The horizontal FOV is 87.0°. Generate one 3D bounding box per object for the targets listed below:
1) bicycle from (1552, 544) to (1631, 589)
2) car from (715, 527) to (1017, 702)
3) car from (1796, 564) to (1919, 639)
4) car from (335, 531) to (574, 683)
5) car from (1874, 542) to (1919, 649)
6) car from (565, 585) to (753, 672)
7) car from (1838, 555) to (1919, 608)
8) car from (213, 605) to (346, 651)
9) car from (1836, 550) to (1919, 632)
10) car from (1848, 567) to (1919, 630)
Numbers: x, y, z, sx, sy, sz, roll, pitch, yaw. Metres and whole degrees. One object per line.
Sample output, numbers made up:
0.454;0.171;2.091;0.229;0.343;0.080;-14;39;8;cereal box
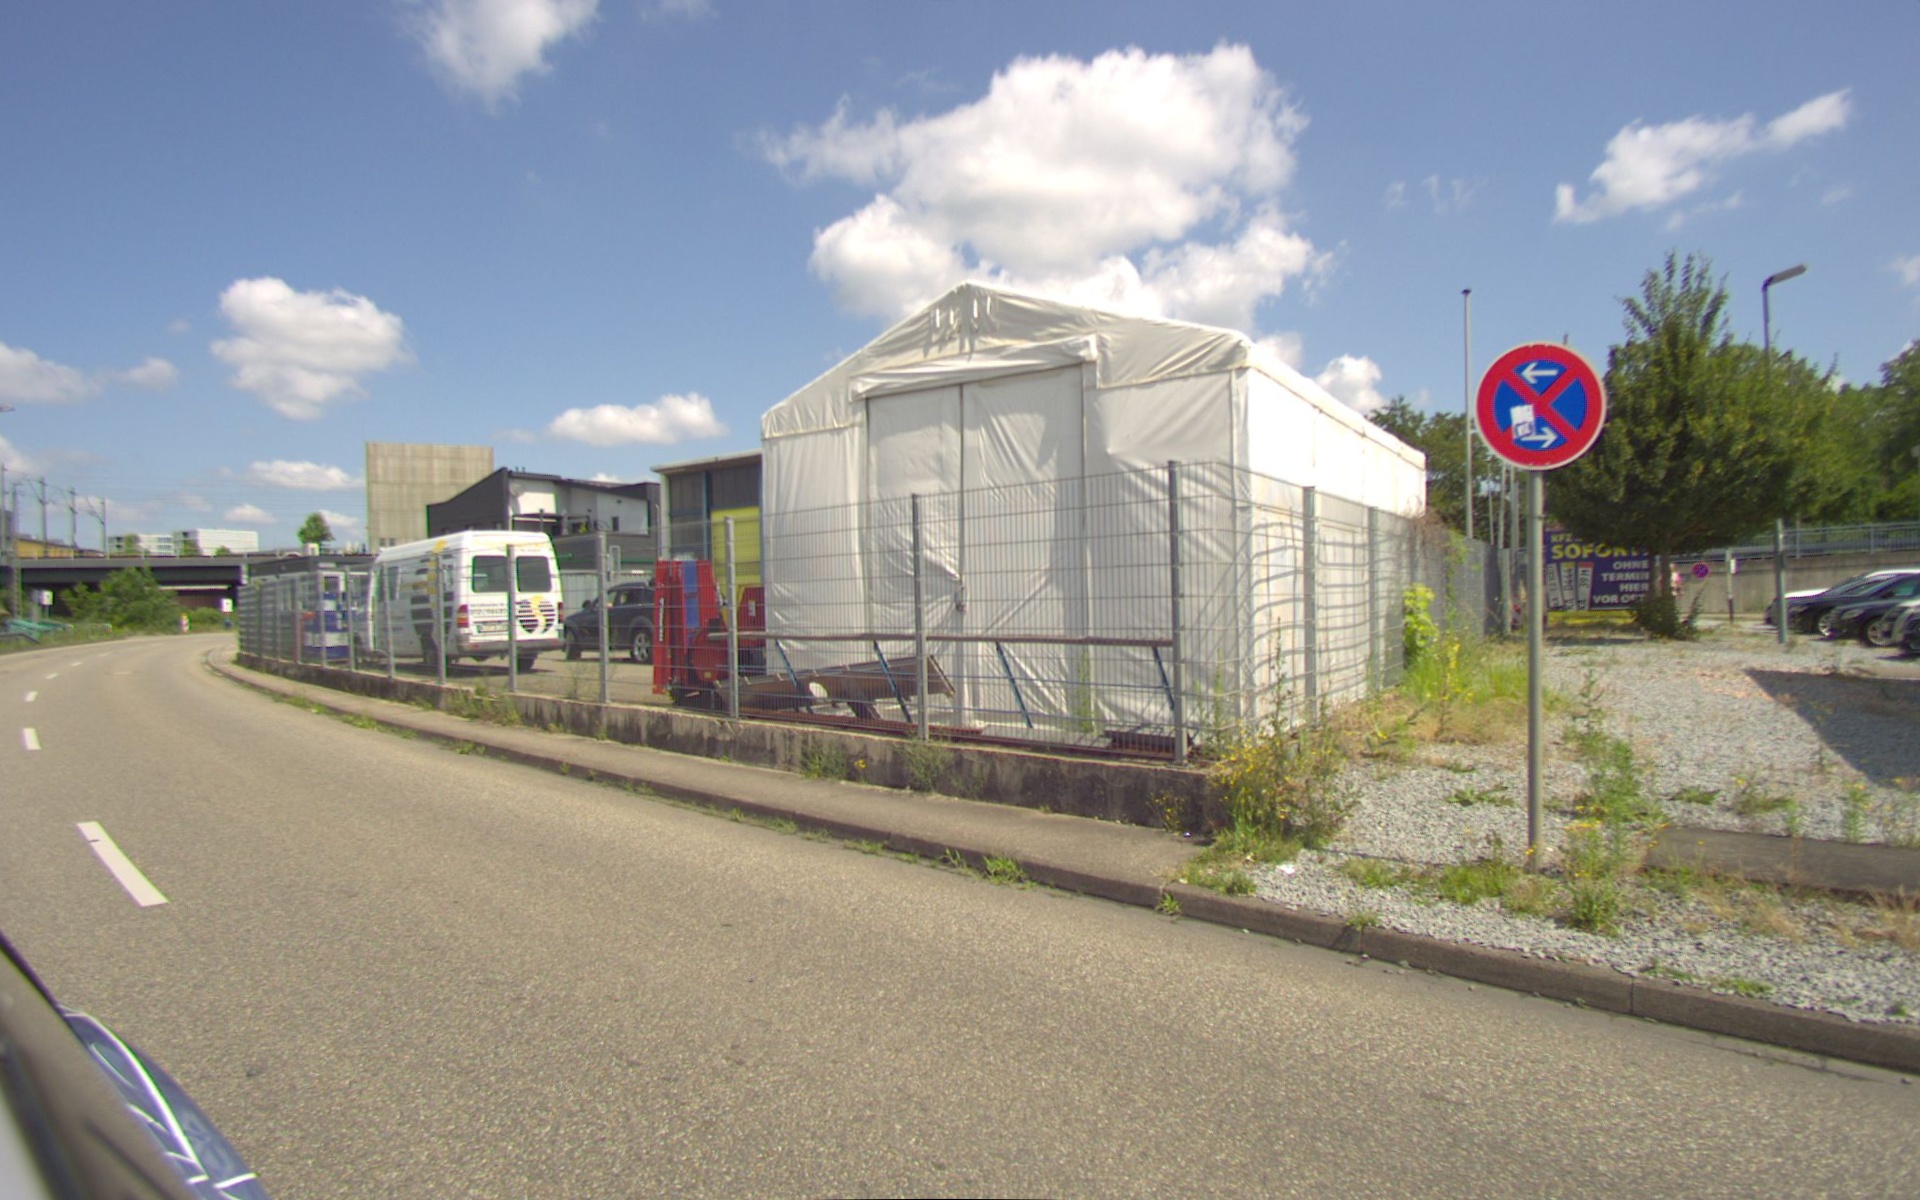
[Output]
25.840;-1.341;41.453;2.679;1.763;0.530;-1;-1;28;bicycle
-1.112;0.175;14.310;2.050;2.042;4.525;-1;0;29;car
21.531;0.024;22.245;4.582;1.610;1.979;-1;0;32;car
-10.231;0.179;20.103;6.718;2.556;2.095;-2;-1;44;car
18.386;-0.107;16.687;4.582;1.791;1.979;-1;0;32;car
-6.500;0.590;21.683;3.995;1.680;1.958;-1;-1;39;car
30.946;-0.590;32.100;4.292;1.615;1.981;-1;0;28;car
-35.015;1.384;52.223;1.996;1.930;5.281;-1;2;35;car
20.104;-0.197;19.481;4.582;1.564;1.979;-1;0;32;car
25.792;-0.044;26.860;3.113;1.637;1.258;-1;0;32;car
